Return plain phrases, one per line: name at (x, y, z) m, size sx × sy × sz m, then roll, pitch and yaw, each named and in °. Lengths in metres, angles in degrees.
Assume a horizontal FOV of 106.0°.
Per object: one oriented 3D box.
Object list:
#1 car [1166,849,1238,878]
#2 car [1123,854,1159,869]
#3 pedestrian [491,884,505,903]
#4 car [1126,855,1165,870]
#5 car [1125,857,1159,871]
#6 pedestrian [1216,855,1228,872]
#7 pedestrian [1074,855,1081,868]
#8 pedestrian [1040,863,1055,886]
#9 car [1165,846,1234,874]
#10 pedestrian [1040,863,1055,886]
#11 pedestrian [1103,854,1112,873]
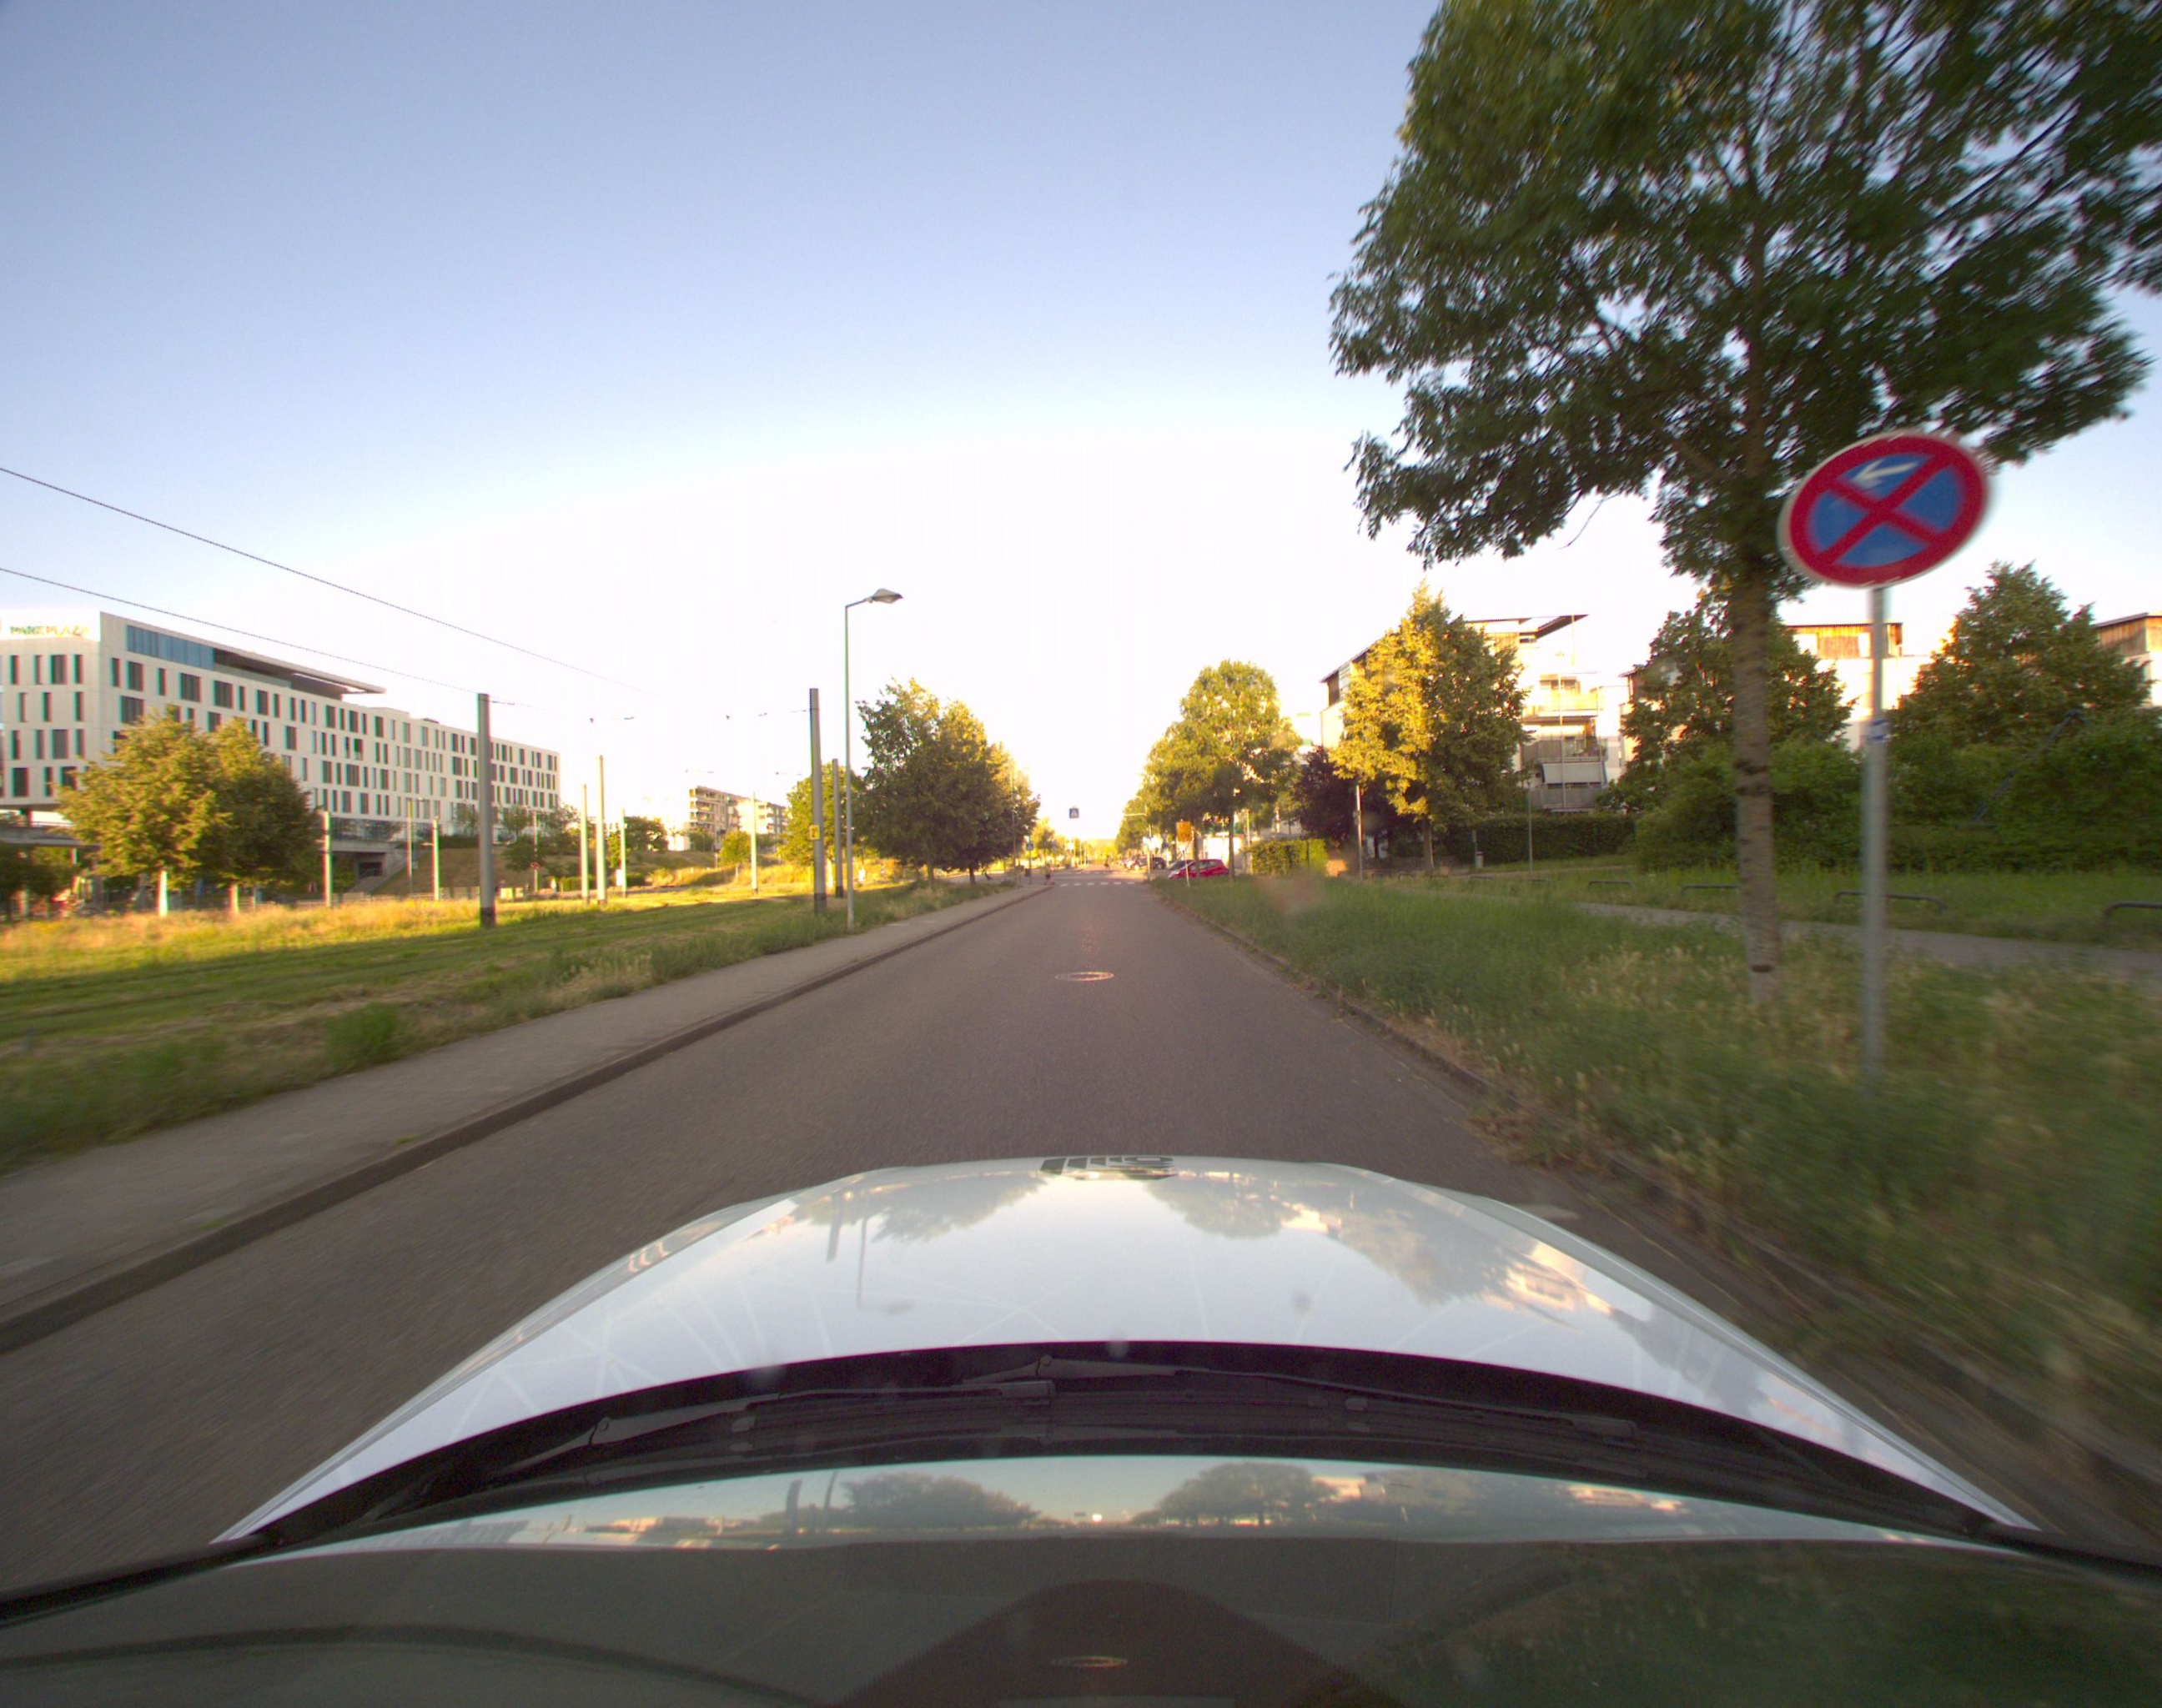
car at (6.800, 0.530, 46.068) m, size 3.791 × 1.508 × 1.678 m, roll -2°, pitch -1°, yaw -1°
car at (8.746, 1.119, 119.692) m, size 4.992 × 2.045 × 2.248 m, roll -2°, pitch -1°, yaw -3°
pedestrian at (-57.973, 3.897, 80.982) m, size 0.783 × 1.786 × 0.815 m, roll -2°, pitch -1°, yaw 5°
car at (7.612, 1.049, 96.469) m, size 4.466 × 1.596 × 2.001 m, roll -2°, pitch -1°, yaw 2°
car at (7.808, 1.324, 104.412) m, size 4.246 × 1.596 × 2.001 m, roll -2°, pitch -1°, yaw 2°
pedestrian at (14.632, 0.959, 84.537) m, size 1.002 × 1.788 × 0.761 m, roll -1°, pitch -1°, yaw -5°
pedestrian at (-0.515, 1.193, 128.321) m, size 0.866 × 2.014 × 0.787 m, roll -2°, pitch -1°, yaw -9°
pedestrian at (-2.595, 1.546, 62.604) m, size 0.983 × 1.693 × 0.698 m, roll -2°, pitch -1°, yaw -10°
car at (7.051, 0.358, 48.707) m, size 3.791 × 1.508 × 1.678 m, roll -2°, pitch -1°, yaw -1°
pedestrian at (-2.565, 1.548, 61.893) m, size 1.018 × 1.693 × 0.757 m, roll -2°, pitch -1°, yaw -9°
pedestrian at (2.881, 1.066, 89.189) m, size 0.842 × 2.014 × 0.945 m, roll -2°, pitch -1°, yaw 7°
